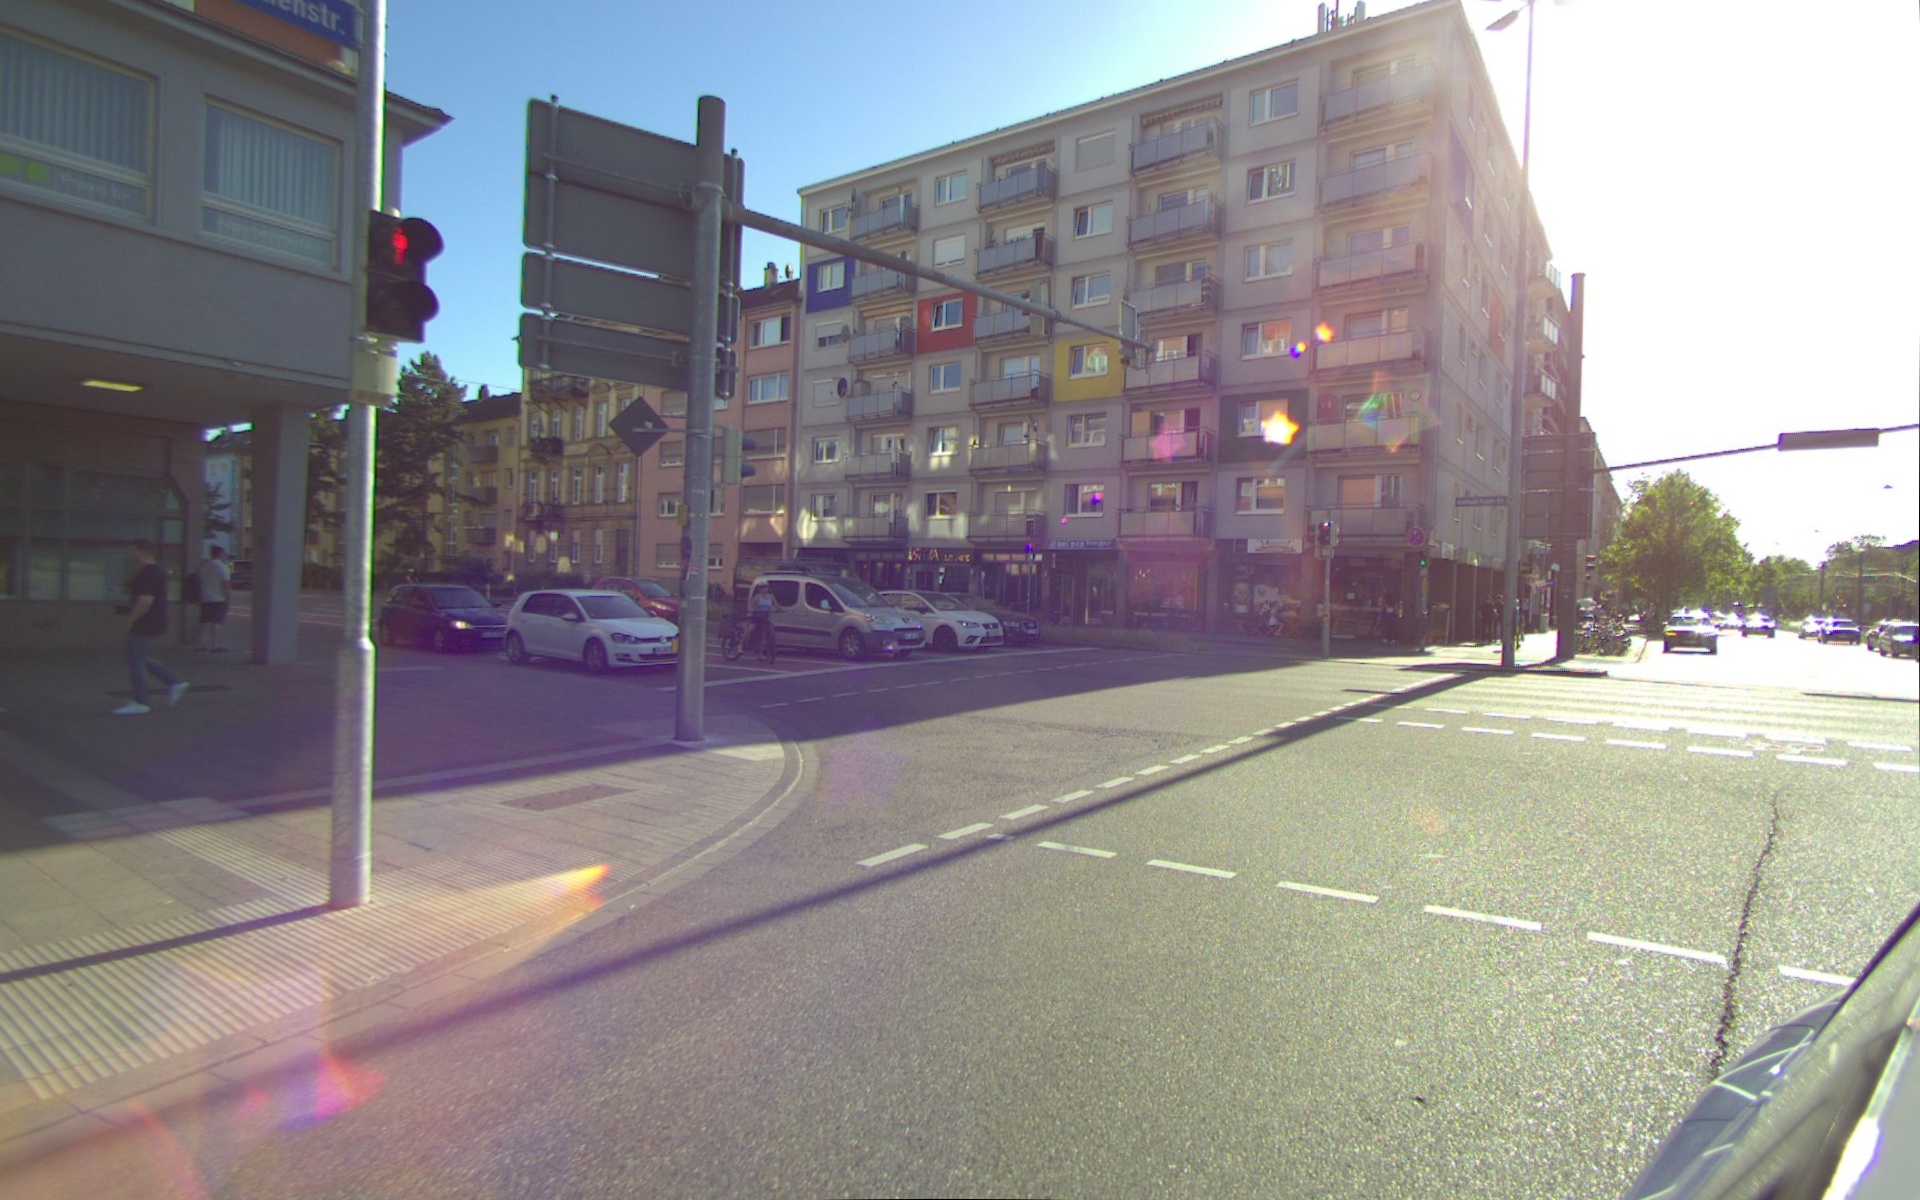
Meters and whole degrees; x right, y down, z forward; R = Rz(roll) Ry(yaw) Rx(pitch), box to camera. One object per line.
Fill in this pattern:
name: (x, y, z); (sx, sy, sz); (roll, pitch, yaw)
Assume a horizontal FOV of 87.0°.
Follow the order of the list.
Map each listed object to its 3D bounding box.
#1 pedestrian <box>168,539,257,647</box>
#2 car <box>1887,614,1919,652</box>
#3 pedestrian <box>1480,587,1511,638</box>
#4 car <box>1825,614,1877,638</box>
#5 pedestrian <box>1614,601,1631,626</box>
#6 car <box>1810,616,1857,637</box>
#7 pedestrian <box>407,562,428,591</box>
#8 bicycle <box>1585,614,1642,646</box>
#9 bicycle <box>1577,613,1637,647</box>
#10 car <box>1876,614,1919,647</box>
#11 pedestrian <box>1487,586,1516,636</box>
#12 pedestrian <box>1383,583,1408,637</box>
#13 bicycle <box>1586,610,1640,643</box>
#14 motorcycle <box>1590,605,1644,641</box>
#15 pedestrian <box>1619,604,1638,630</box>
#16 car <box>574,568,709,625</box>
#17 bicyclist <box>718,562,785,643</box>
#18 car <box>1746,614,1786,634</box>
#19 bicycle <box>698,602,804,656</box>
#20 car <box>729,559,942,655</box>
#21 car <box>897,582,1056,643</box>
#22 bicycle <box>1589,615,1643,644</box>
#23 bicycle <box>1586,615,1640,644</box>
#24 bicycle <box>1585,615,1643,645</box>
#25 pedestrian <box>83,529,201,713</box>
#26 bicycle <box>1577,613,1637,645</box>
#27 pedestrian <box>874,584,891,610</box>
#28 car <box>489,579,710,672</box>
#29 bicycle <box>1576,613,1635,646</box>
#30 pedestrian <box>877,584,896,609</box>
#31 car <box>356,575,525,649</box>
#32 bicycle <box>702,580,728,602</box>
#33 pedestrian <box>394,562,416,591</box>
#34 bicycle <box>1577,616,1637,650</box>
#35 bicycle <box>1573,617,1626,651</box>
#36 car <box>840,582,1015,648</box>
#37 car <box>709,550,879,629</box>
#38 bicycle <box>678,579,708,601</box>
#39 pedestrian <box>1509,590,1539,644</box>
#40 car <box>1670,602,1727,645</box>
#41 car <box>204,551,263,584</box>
pedestrian: (-12.792, -0.124, 17.338); (0.843, 1.801, 0.897); (0, 0, 9)
car: (39.782, 1.352, 41.546); (1.987, 1.448, 4.080); (0, 0, 35)
pedestrian: (19.943, 0.451, 37.666); (0.861, 1.858, 1.195); (1, 0, 35)
car: (53.197, 1.539, 60.481); (1.848, 1.308, 4.043); (2, 1, 35)
pedestrian: (44.560, 0.900, 68.035); (0.660, 1.672, 0.772); (1, 0, -42)
car: (59.975, 1.772, 69.551); (1.976, 1.308, 4.271); (2, 1, 35)
pedestrian: (-32.587, -1.409, 60.826); (0.768, 1.694, 0.839); (0, 0, 19)
bicycle: (25.345, 1.148, 39.285); (1.810, 1.082, 0.411); (3, 3, 32)
bicycle: (22.854, 1.049, 35.764); (1.744, 1.113, 0.394); (3, 1, 35)
car: (44.917, 1.410, 47.837); (1.881, 1.448, 4.080); (0, 0, 35)
pedestrian: (21.267, 0.430, 39.751); (0.789, 1.909, 0.861); (1, 0, 43)
pedestrian: (14.819, 0.347, 34.466); (0.567, 1.796, 0.654); (1, 0, 43)
bicycle: (26.183, 1.049, 40.593); (1.769, 1.245, 0.410); (2, 1, 32)
motorcycle: (28.627, 0.983, 44.113); (1.871, 1.447, 0.879); (4, 2, 32)
pedestrian: (49.643, 1.231, 75.195); (0.856, 1.907, 1.215); (1, 0, 19)
car: (-9.681, -0.133, 30.610); (4.363, 1.555, 1.801); (3, 1, 40)
bicyclist: (-4.167, 0.046, 20.241); (0.929, 1.580, 0.930); (0, 0, 34)
car: (58.057, 1.714, 72.942); (1.976, 1.308, 4.337); (2, 1, 35)
bicycle: (-4.196, 0.553, 20.252); (2.134, 1.013, 0.850); (0, 0, 35)
car: (-2.766, 0.126, 22.033); (4.573, 1.874, 1.922); (0, 0, 36)
car: (0.365, 0.302, 27.076); (1.941, 1.487, 4.151); (0, 0, -43)
bicycle: (26.950, 1.202, 41.587); (1.810, 1.073, 0.410); (3, 1, 32)
bicycle: (26.602, 1.201, 41.280); (1.810, 1.073, 0.410); (3, 2, 33)
bicycle: (24.497, 1.124, 37.920); (1.812, 1.074, 0.410); (0, 0, 36)
pedestrian: (-8.751, 0.206, 10.866); (0.874, 1.868, 0.829); (0, 0, -32)
bicycle: (23.340, 1.044, 36.508); (1.806, 1.096, 0.524); (0, 0, 33)
pedestrian: (-3.620, -0.147, 47.218); (0.561, 1.181, 0.522); (2, 1, 40)
car: (-6.788, 0.408, 18.915); (4.135, 1.521, 1.823); (0, 2, 35)
bicycle: (22.595, 1.023, 35.441); (1.745, 1.090, 0.401); (0, 0, 35)
pedestrian: (-3.488, -0.162, 48.241); (0.660, 1.181, 0.596); (2, 1, 40)
car: (-11.493, 0.196, 22.315); (4.136, 1.444, 1.558); (1, 2, 35)
bicycle: (-12.724, -0.468, 52.689); (0.675, 1.004, 1.919); (-1, 5, 7)
pedestrian: (-32.654, -1.365, 59.508); (0.767, 1.694, 0.839); (0, 0, 16)
bicycle: (22.239, 1.127, 34.812); (1.693, 1.023, 0.406); (3, 2, 34)
bicycle: (21.513, 1.138, 34.043); (1.426, 1.023, 0.405); (4, 2, 38)
car: (-0.816, 0.328, 24.565); (3.973, 1.458, 1.826); (0, 0, 35)
car: (-5.185, -0.366, 31.229); (5.233, 2.226, 2.342); (3, 1, 41)
bicycle: (-14.225, -0.548, 53.956); (0.677, 1.004, 1.914); (0, 5, 14)
pedestrian: (19.201, 0.574, 34.432); (0.787, 1.799, 0.864); (1, 0, 35)
car: (32.043, 0.992, 43.911); (1.892, 1.708, 4.063); (2, 0, 37)
car: (-48.545, -2.143, 67.603); (4.220, 2.039, 1.974); (0, 0, 36)
